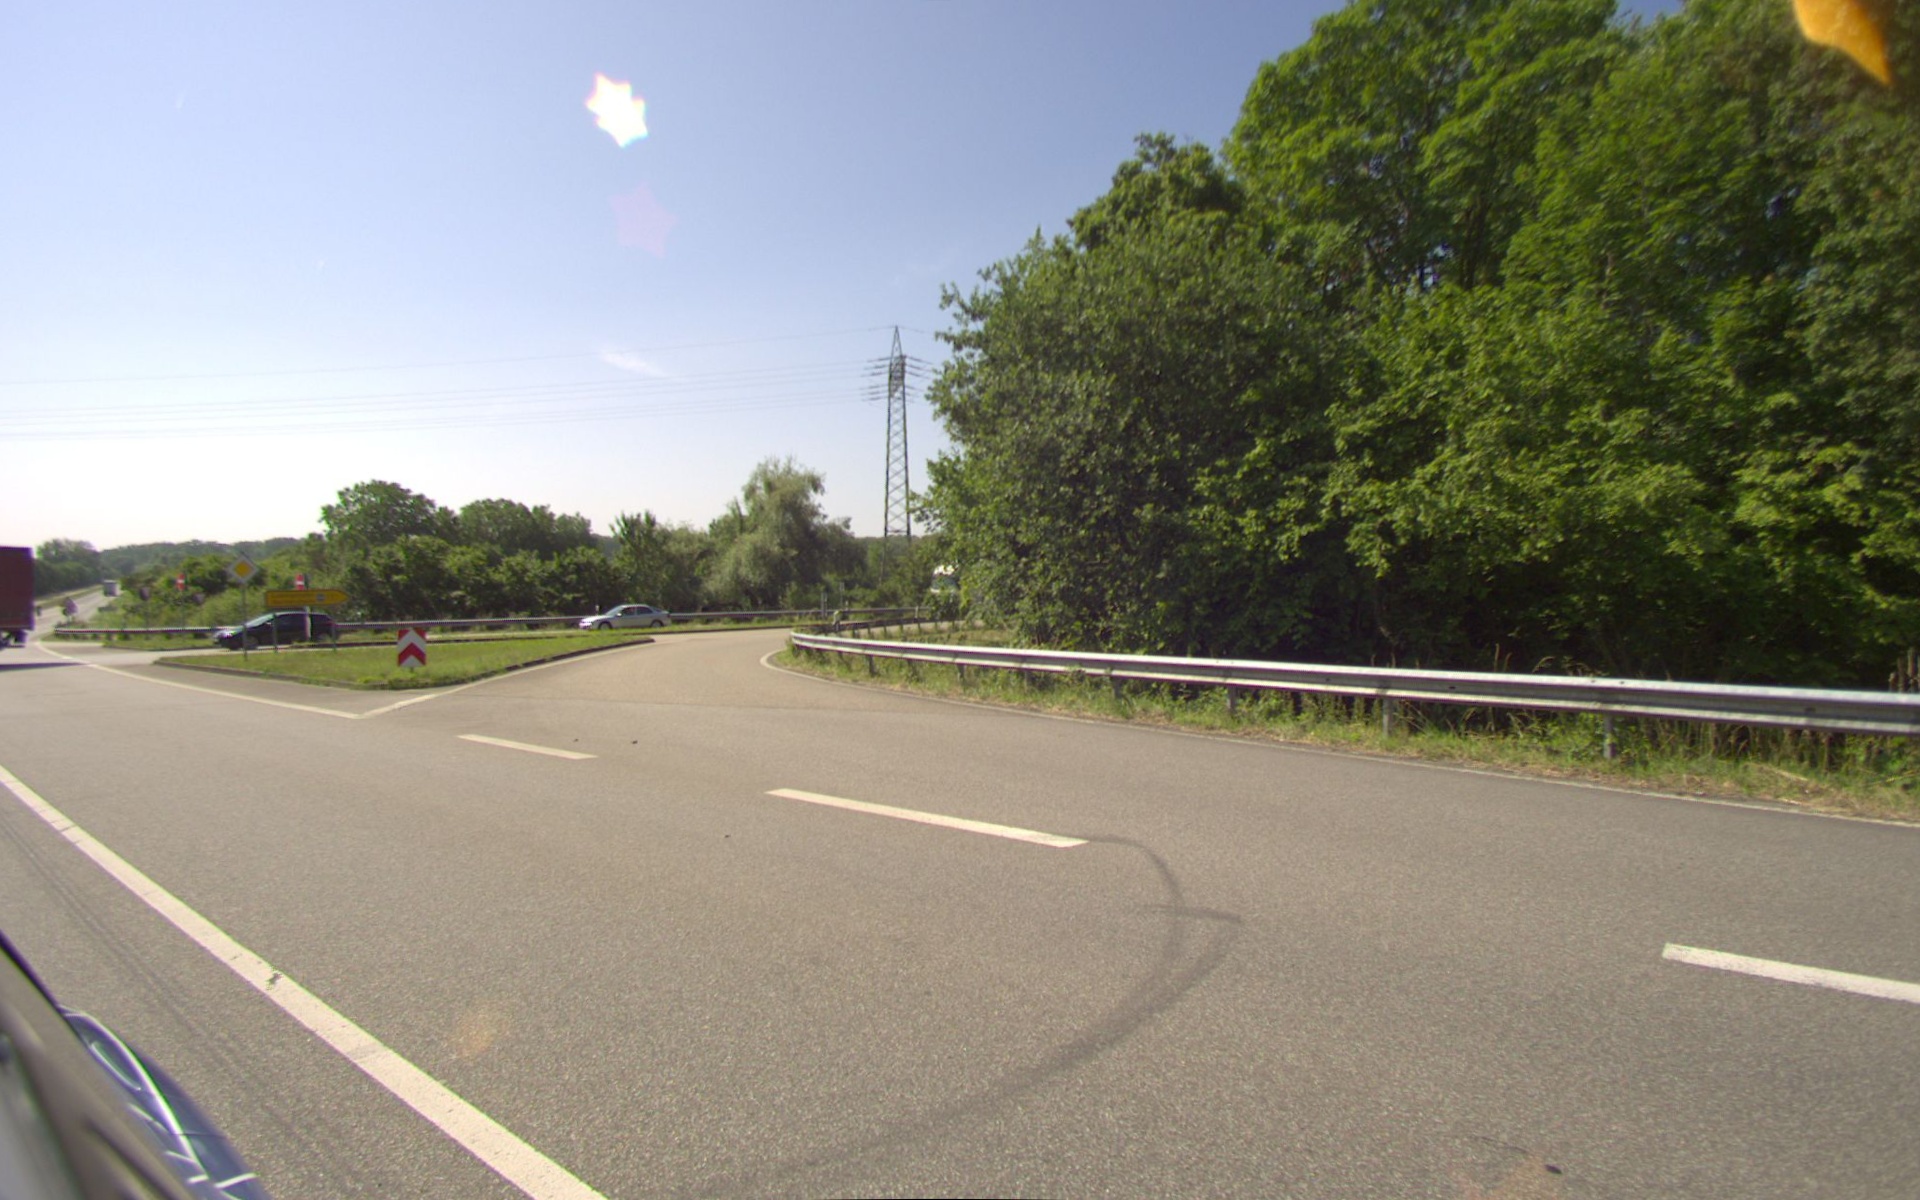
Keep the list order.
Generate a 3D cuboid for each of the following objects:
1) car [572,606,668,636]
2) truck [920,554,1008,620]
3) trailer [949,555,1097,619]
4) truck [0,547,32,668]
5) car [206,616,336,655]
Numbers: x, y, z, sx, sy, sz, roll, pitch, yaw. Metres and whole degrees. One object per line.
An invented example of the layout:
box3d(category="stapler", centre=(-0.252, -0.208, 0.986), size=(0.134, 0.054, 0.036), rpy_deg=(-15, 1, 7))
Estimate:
box3d(category="car", centre=(-17.322, 1.045, 51.669), size=(4.307, 1.395, 1.792), rpy_deg=(-1, 0, -38))
box3d(category="truck", centre=(0.308, -0.920, 68.419), size=(2.940, 4.269, 5.654), rpy_deg=(2, 2, 41))
box3d(category="trailer", centre=(4.879, -0.999, 73.628), size=(2.930, 4.271, 13.788), rpy_deg=(2, 2, 41))
box3d(category="truck", centre=(-30.040, 0.252, 27.234), size=(2.649, 3.689, 9.278), rpy_deg=(-1, 0, -8))
box3d(category="car", centre=(-27.706, 1.398, 40.800), size=(1.785, 1.425, 3.951), rpy_deg=(-1, 0, 36))
